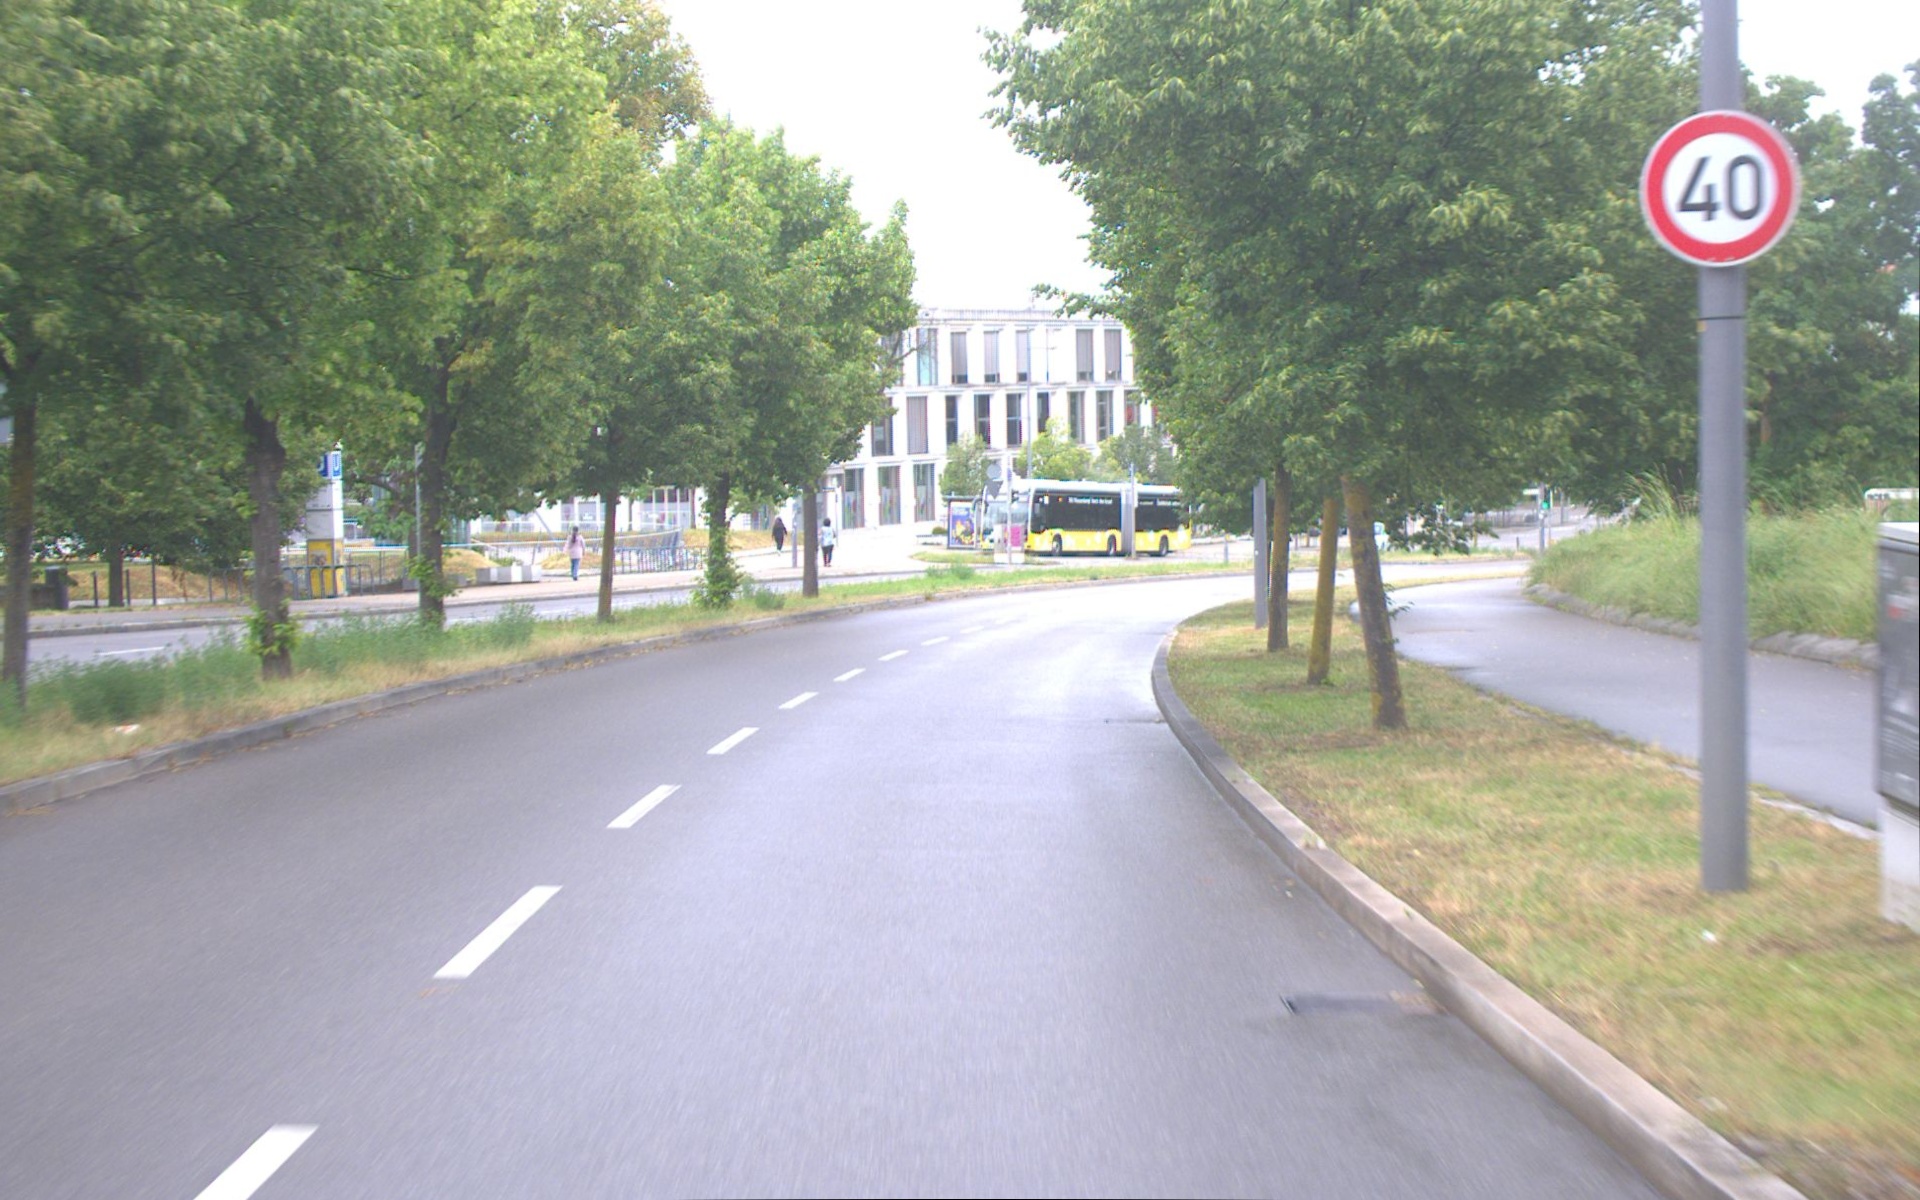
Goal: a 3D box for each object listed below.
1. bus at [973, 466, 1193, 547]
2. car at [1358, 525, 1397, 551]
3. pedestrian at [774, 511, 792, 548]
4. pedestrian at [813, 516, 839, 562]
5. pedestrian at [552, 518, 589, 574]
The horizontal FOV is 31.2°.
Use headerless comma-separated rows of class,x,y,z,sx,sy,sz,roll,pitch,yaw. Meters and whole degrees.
bus,5.907,-4.204,158.350,2.789,3.345,18.199,0,0,27
car,23.961,-3.555,197.292,1.480,1.489,2.527,0,0,25
pedestrian,-7.263,-2.894,140.889,0.682,1.519,0.719,0,0,1
pedestrian,-4.609,-2.088,118.118,0.834,1.568,0.719,0,0,-5
pedestrian,-11.446,-1.578,100.983,0.814,1.615,0.935,0,0,12
